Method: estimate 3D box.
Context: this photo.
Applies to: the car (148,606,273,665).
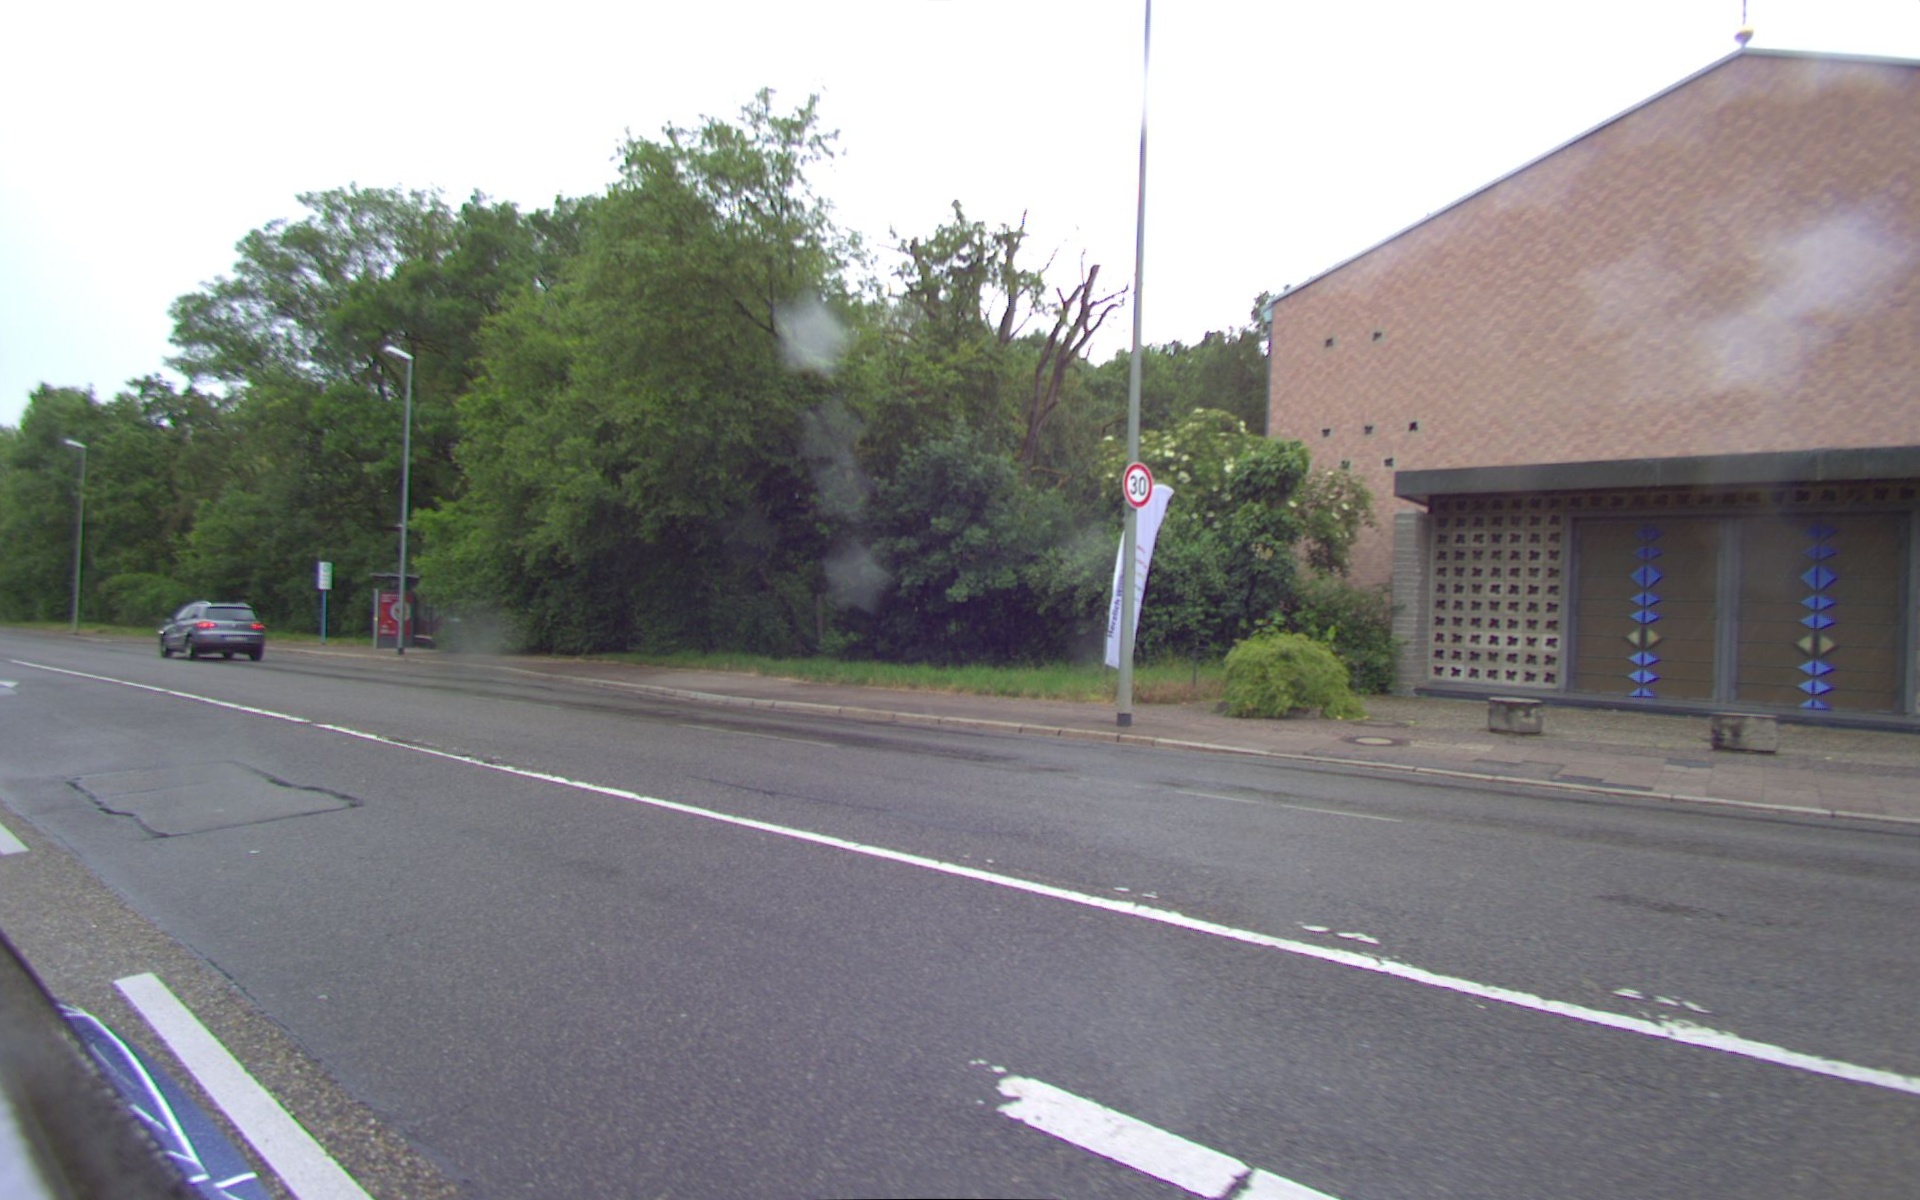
[{"bbox_3d":[-22.274,1.020,30.038,4.312,1.603,1.890,0,-2,38],"label":"car"}]
